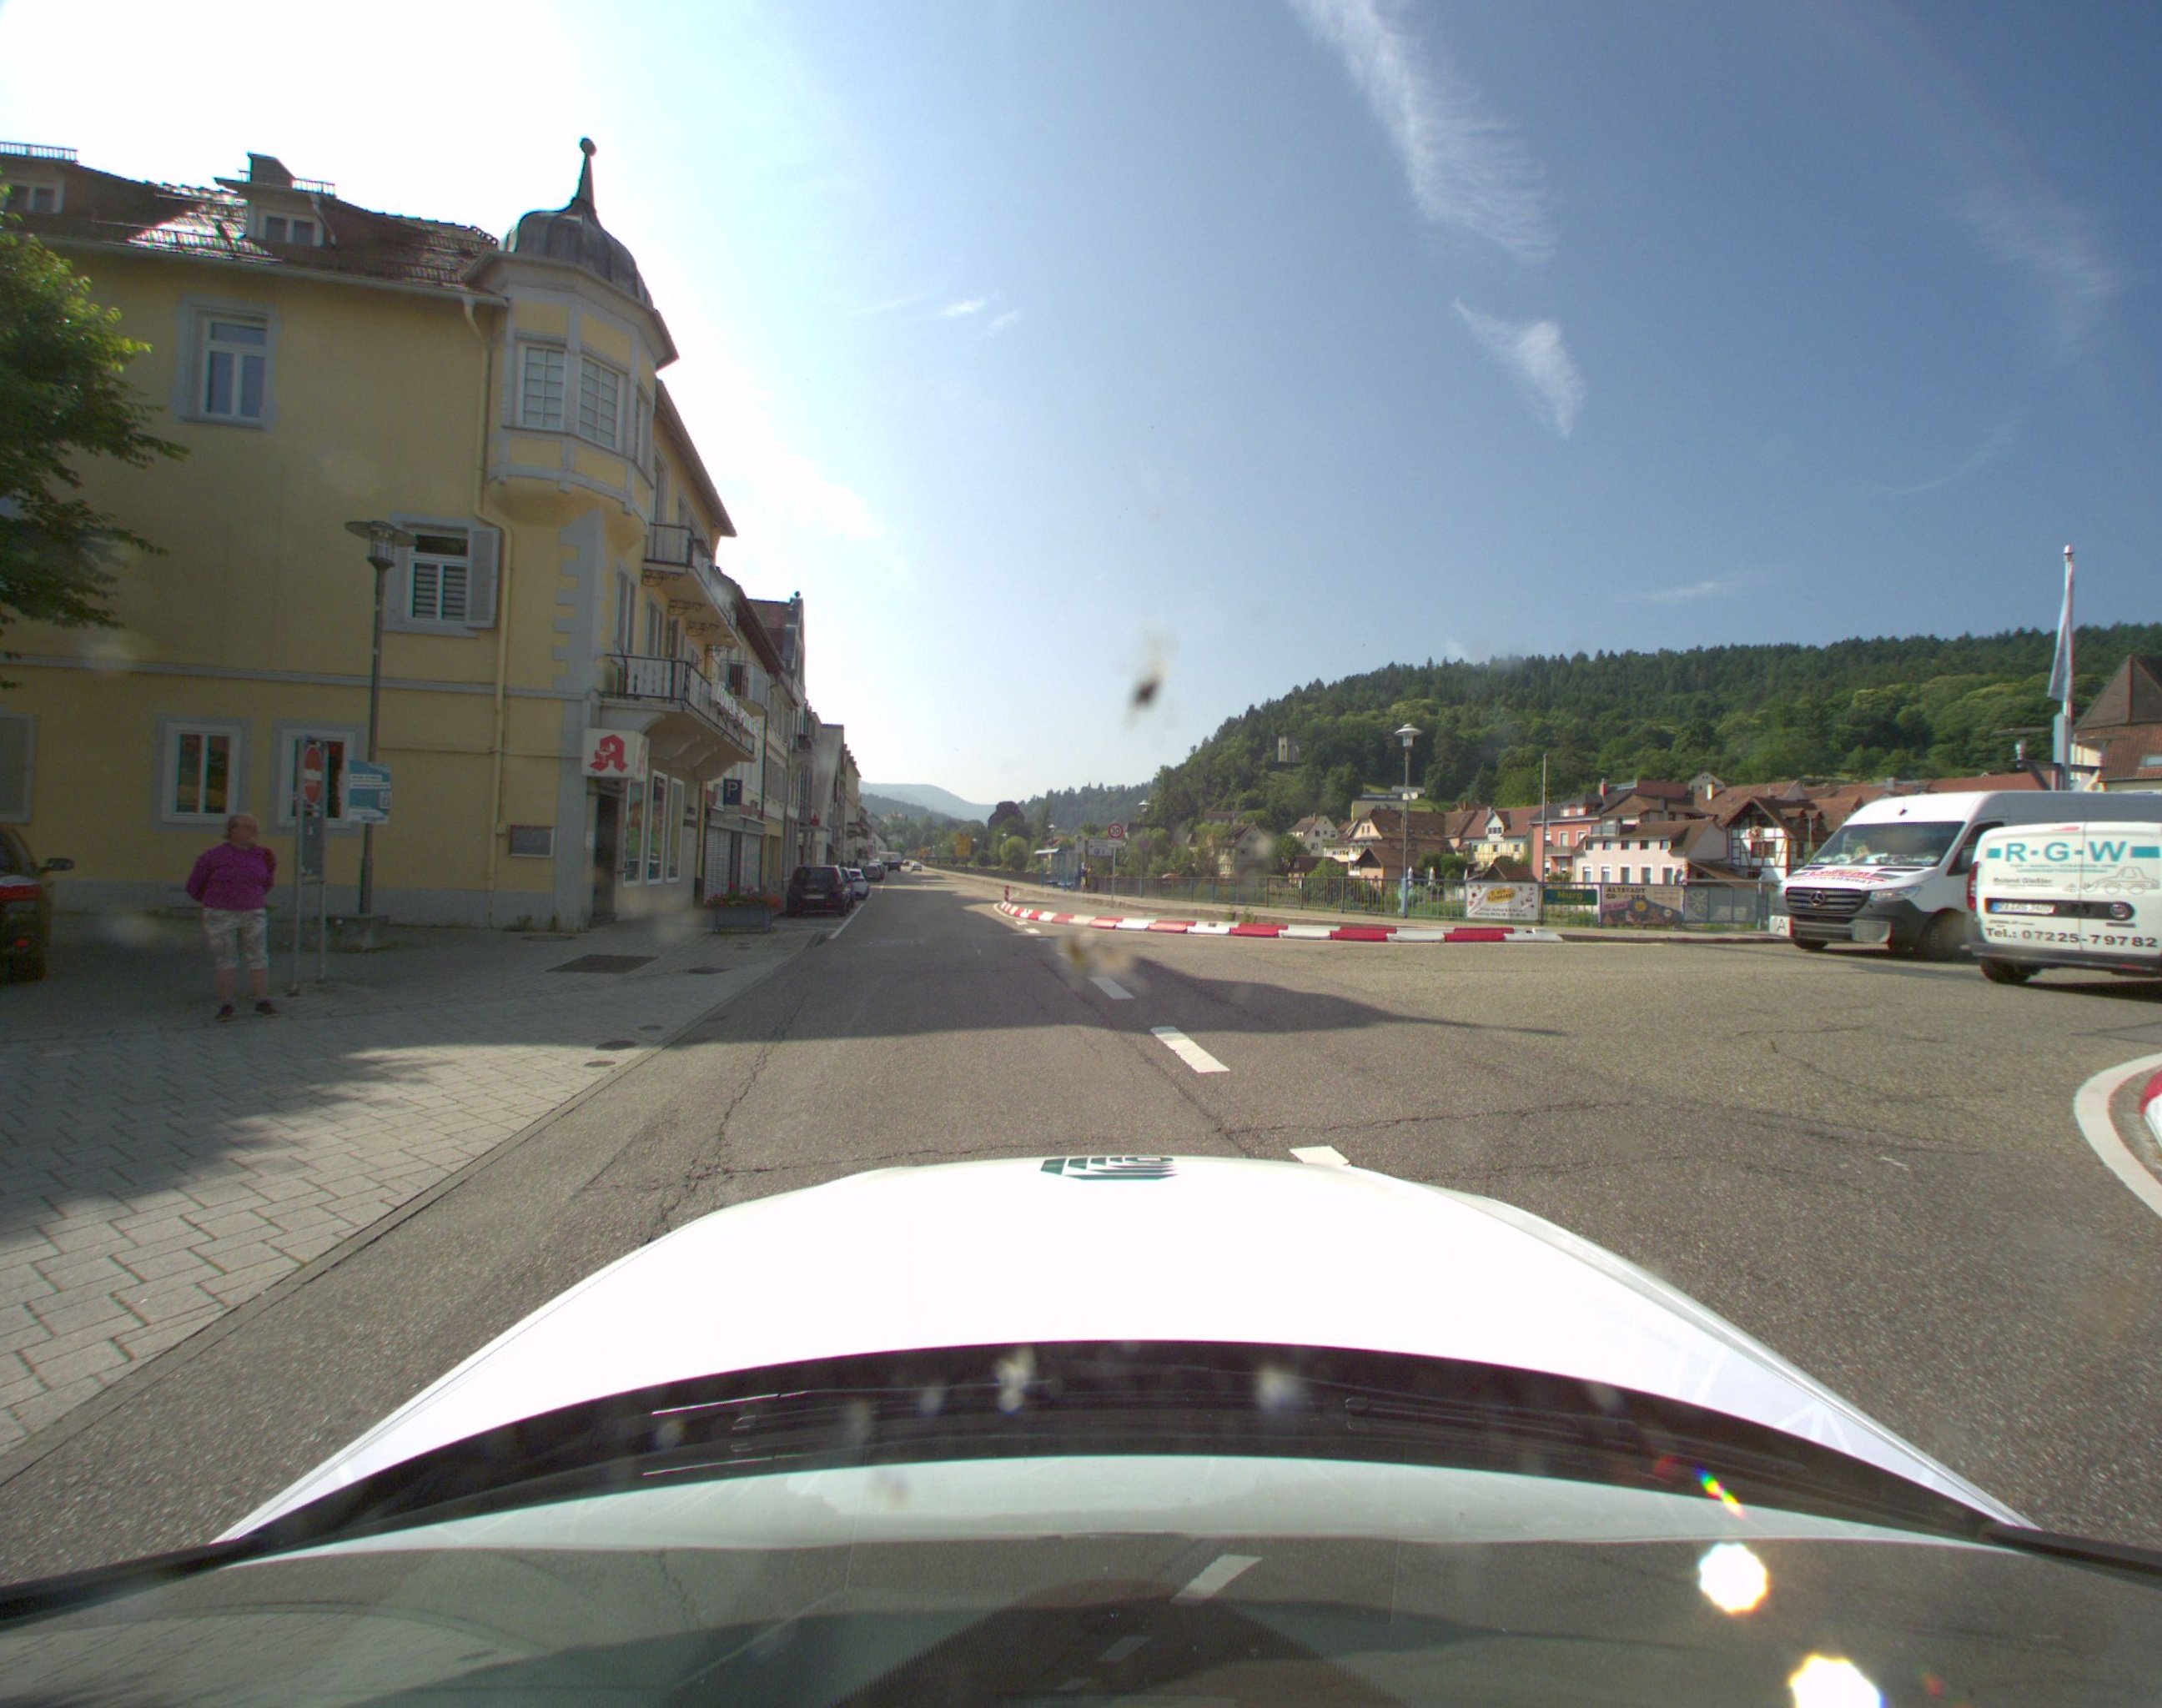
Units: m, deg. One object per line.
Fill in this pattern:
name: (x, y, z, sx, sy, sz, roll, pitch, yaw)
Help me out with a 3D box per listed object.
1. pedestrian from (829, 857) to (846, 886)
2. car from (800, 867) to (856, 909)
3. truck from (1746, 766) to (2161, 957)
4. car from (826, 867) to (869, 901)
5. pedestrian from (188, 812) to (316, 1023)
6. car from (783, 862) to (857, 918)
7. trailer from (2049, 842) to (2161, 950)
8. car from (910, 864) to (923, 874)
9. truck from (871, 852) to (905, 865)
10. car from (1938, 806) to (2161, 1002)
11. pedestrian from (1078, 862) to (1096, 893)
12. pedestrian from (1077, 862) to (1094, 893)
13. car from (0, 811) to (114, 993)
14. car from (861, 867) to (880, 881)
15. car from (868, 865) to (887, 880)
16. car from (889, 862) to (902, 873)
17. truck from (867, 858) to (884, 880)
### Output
pedestrian: (-14.301, 1.049, 47.903, 0.684, 1.696, 0.662, 1, -1, 14)
car: (-9.287, 1.221, 30.136, 1.749, 1.448, 3.260, 1, -1, -14)
truck: (14.753, 0.194, 13.297, 7.115, 2.699, 2.103, 1, -1, -13)
car: (-10.912, 1.375, 38.221, 1.749, 1.448, 3.776, 1, -1, -14)
pedestrian: (-7.202, 0.517, 7.081, 0.609, 1.714, 0.684, 2, -1, 40)
car: (-7.852, 1.051, 24.746, 1.849, 1.568, 3.551, 1, -1, -14)
trailer: (21.060, 0.749, 14.460, 5.621, 1.828, 2.609, 1, -1, -11)
car: (-27.232, 2.473, 134.493, 1.995, 1.662, 3.983, 2, -1, -13)
truck: (-52.109, 1.155, 219.939, 3.041, 3.264, 9.263, 0, -1, 34)
car: (12.398, 0.514, 9.207, 4.305, 1.906, 1.842, 1, 0, -14)
pedestrian: (0.329, 1.301, 45.147, 0.867, 1.706, 0.774, 2, -1, -11)
pedestrian: (0.252, 1.308, 45.794, 0.789, 1.706, 0.490, 2, -1, -11)
car: (-11.326, 0.351, 8.093, 3.910, 1.543, 1.934, 3, 0, 43)
car: (-18.824, 1.754, 72.753, 1.566, 1.220, 3.260, 1, -1, -14)
car: (-19.747, 1.773, 79.109, 1.749, 1.448, 3.260, 1, -1, -14)
car: (-29.673, 2.083, 130.216, 1.995, 1.662, 3.983, 2, -1, -13)
truck: (-23.904, 1.776, 94.811, 1.749, 2.468, 4.639, 1, -1, -14)
